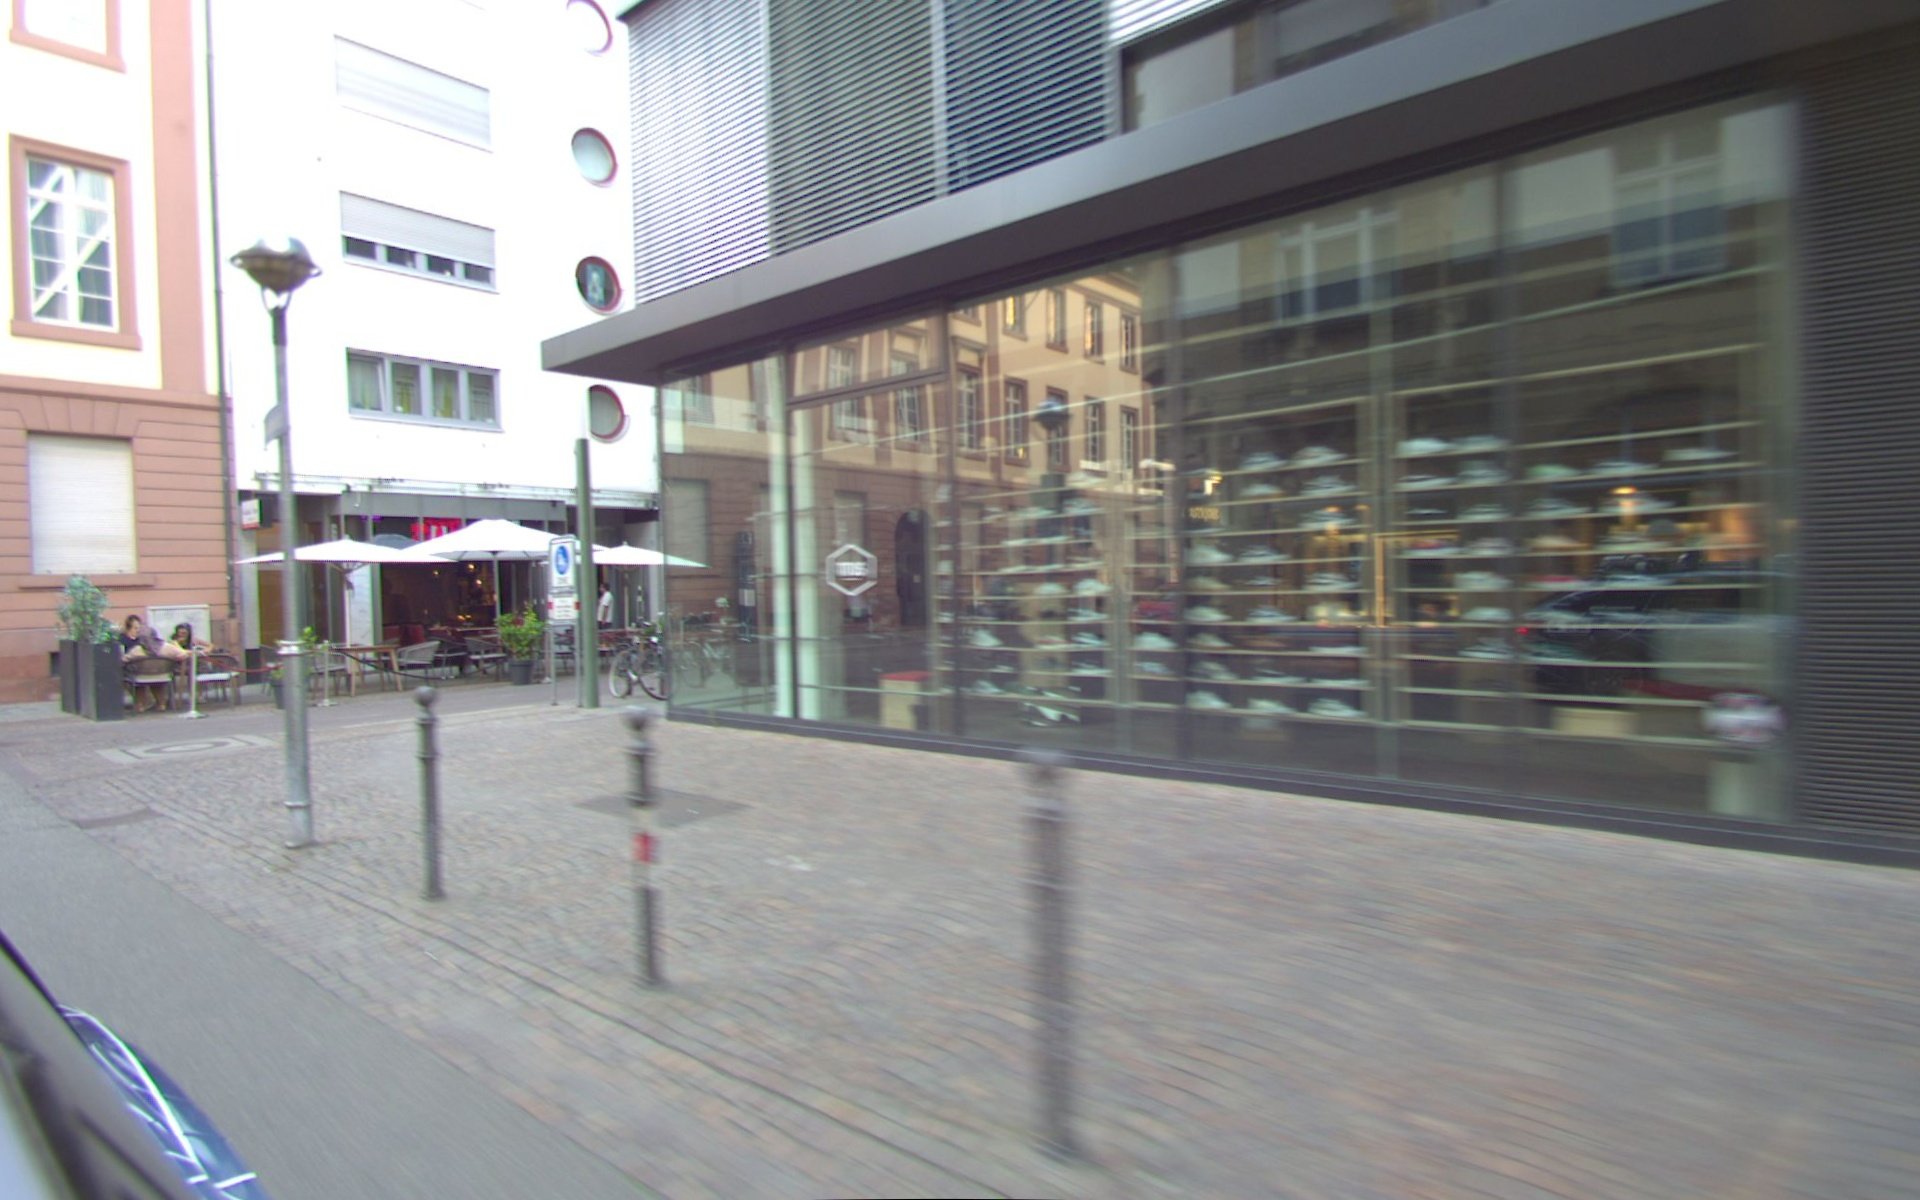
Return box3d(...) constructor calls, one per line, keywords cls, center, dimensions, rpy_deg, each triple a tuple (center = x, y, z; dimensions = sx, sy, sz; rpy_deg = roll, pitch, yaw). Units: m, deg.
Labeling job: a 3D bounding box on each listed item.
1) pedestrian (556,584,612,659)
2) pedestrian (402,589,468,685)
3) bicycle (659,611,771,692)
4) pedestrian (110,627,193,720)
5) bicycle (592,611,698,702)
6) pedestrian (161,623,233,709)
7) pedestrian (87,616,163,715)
box3d(cls="pedestrian", center=(-8.618, 0.493, 23.215), dimensions=(0.853, 1.671, 0.794), rpy_deg=(-2, 1, 23))
box3d(cls="pedestrian", center=(-9.432, 0.654, 18.183), dimensions=(0.791, 1.661, 0.717), rpy_deg=(-2, 1, 34))
box3d(cls="bicycle", center=(-3.686, 0.771, 15.100), dimensions=(2.014, 1.130, 0.461), rpy_deg=(-3, 0, 40))
box3d(cls="pedestrian", center=(-11.127, 0.991, 13.932), dimensions=(0.791, 1.192, 0.666), rpy_deg=(0, 2, 34))
box3d(cls="bicycle", center=(-4.285, 0.771, 13.698), dimensions=(1.701, 1.145, 0.461), rpy_deg=(-4, -1, 40))
box3d(cls="pedestrian", center=(-11.412, 0.970, 15.136), dimensions=(0.791, 1.192, 0.665), rpy_deg=(1, 2, 38))
box3d(cls="pedestrian", center=(-12.061, 0.922, 14.619), dimensions=(0.791, 1.341, 0.665), rpy_deg=(1, 2, 38))
